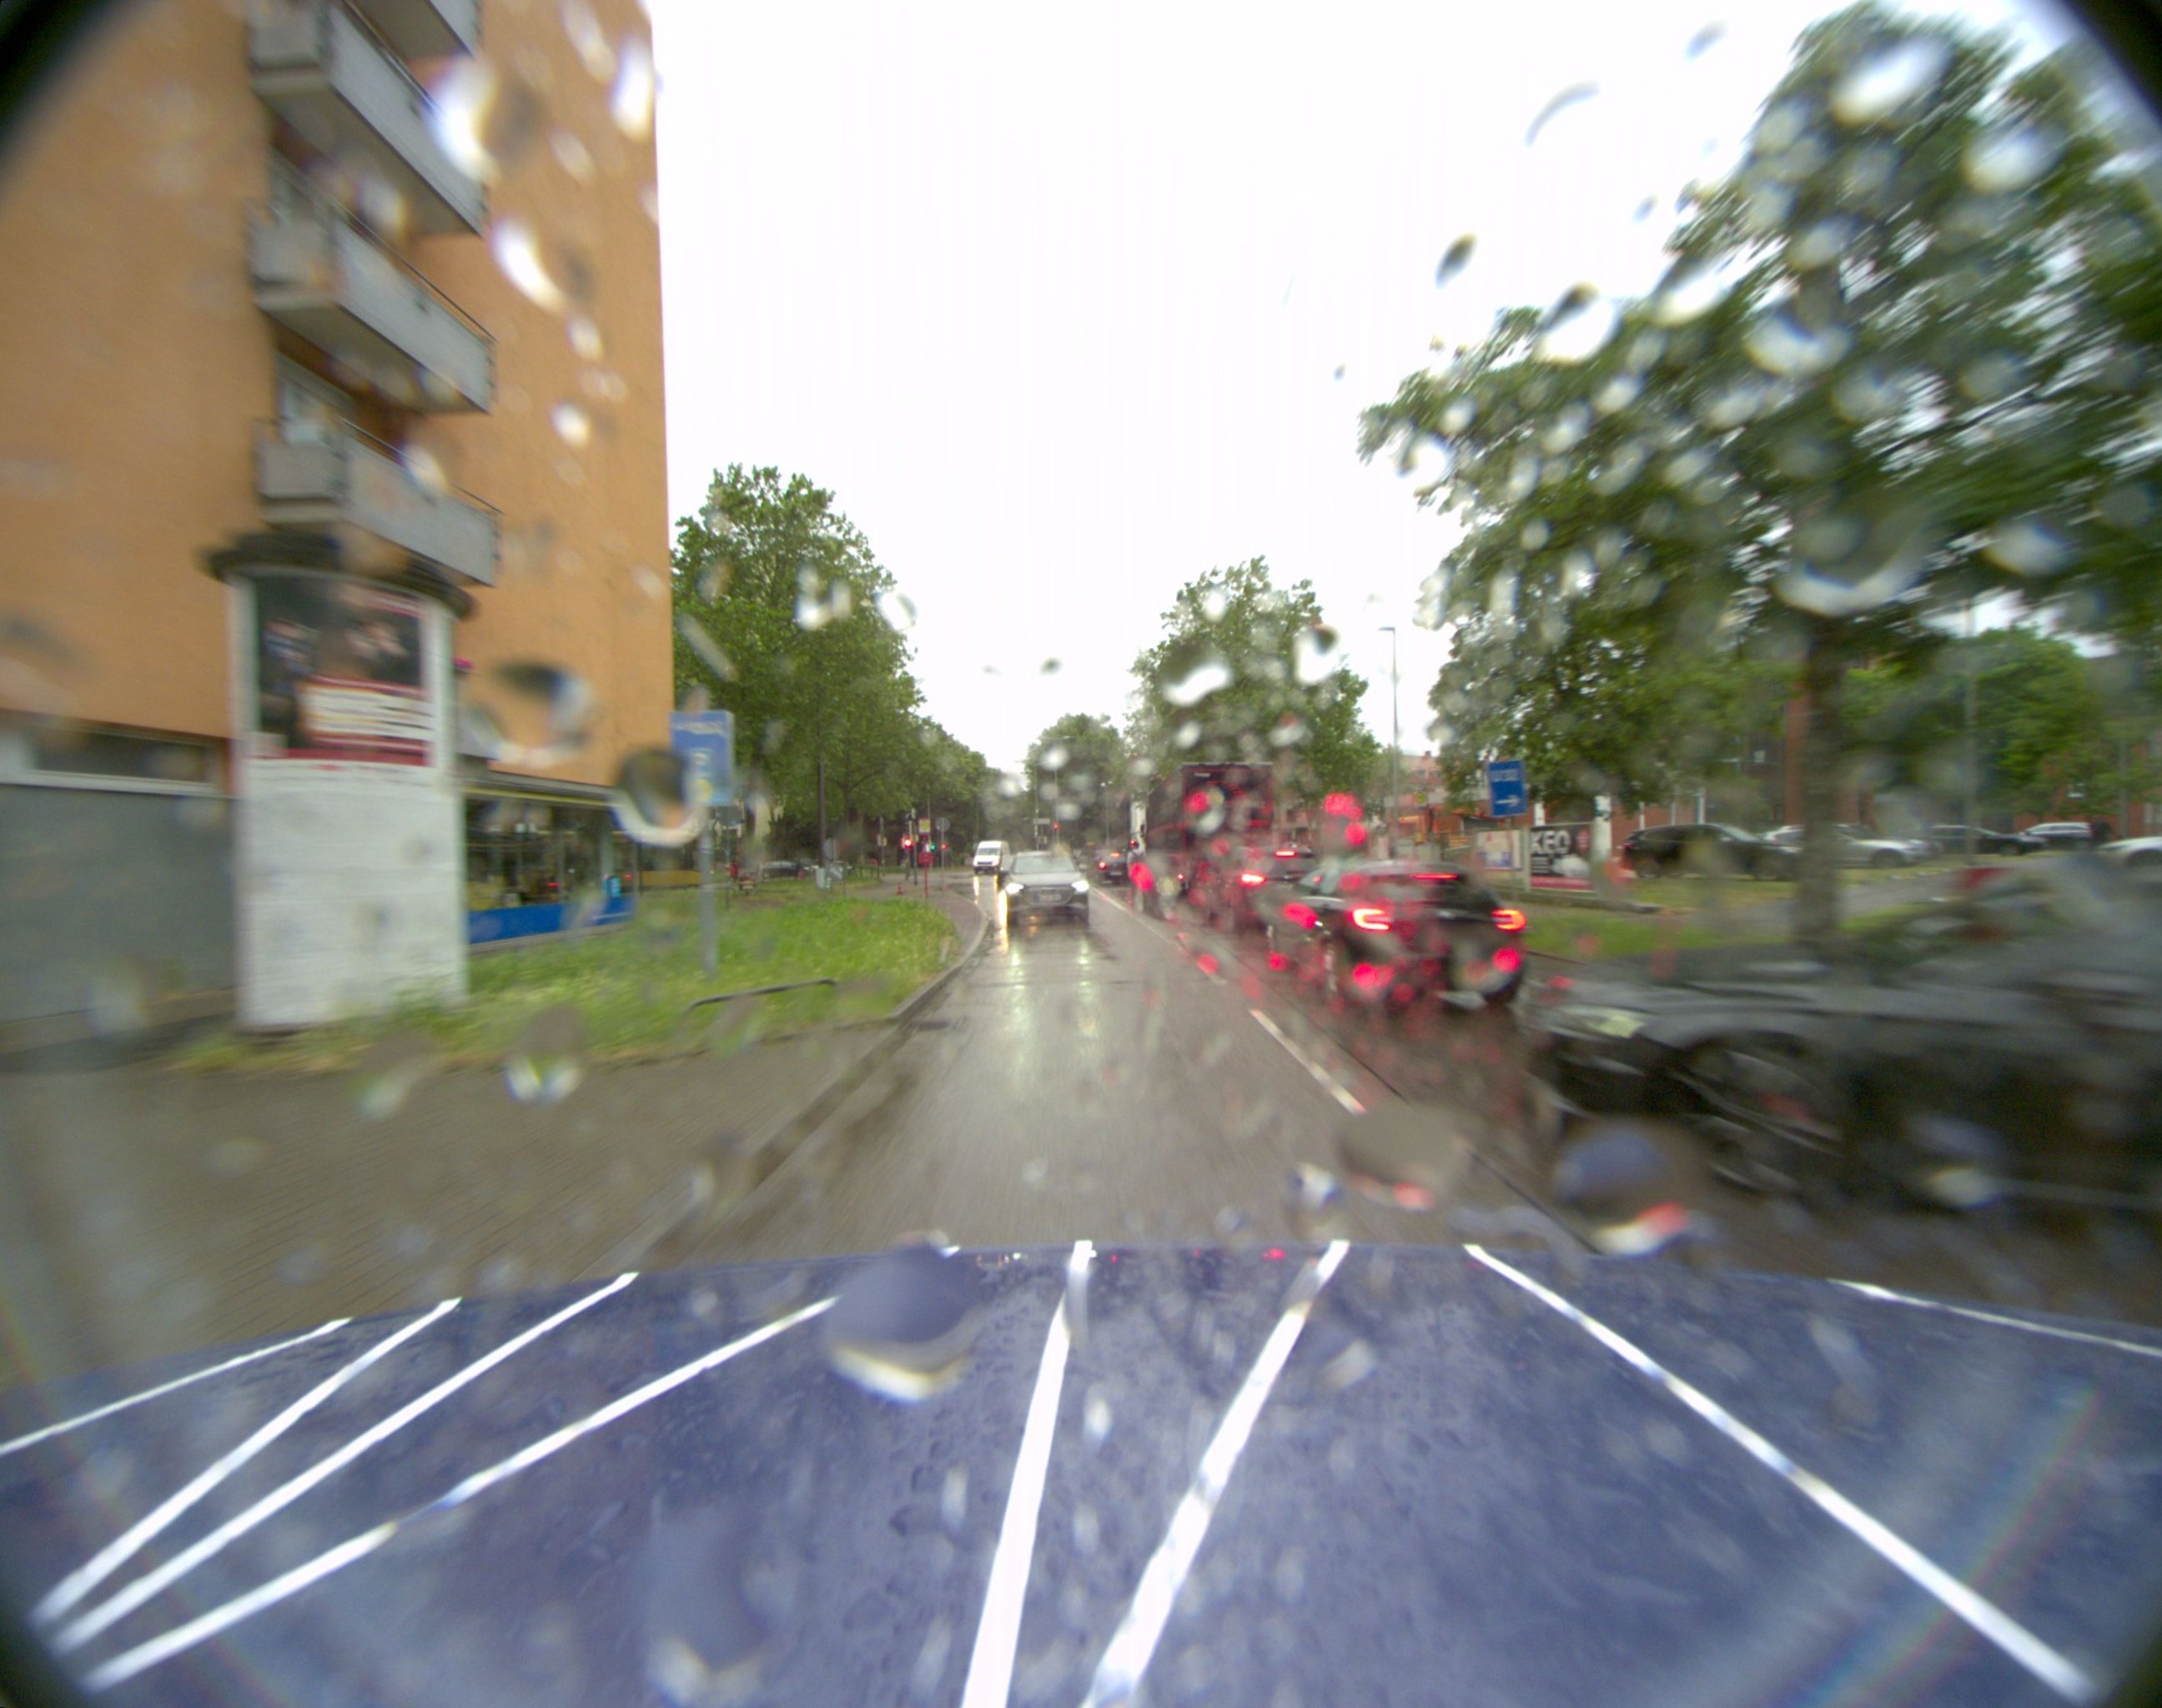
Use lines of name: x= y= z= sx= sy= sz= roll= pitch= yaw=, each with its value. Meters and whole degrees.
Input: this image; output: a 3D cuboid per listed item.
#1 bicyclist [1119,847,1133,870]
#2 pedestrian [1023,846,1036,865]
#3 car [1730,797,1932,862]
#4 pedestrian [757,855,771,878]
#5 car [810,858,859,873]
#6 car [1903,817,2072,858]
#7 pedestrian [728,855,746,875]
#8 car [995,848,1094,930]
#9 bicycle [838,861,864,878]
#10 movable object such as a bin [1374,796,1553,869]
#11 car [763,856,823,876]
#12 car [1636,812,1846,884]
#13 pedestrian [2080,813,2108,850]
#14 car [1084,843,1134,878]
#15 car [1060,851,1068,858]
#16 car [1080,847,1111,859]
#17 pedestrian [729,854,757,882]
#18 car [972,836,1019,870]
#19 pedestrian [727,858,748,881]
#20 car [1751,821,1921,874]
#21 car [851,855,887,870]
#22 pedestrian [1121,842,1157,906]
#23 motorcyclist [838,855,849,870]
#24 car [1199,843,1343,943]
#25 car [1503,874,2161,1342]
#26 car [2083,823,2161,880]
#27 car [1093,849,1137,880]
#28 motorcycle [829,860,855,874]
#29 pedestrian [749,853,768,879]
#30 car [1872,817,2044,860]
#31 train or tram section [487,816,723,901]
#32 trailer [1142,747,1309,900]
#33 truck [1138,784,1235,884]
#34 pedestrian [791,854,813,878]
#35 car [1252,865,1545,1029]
bicyclist: x=2.816 y=0.267 z=47.790 sx=0.581 sy=1.452 sz=1.010 roll=-1 pitch=1 yaw=-12
pedestrian: x=-4.190 y=0.132 z=61.860 sx=0.864 sy=1.572 sz=0.642 roll=-1 pitch=1 yaw=-16
car: x=25.837 y=-0.783 z=26.350 sx=2.003 sy=2.002 sz=4.665 roll=-2 pitch=0 yaw=-34
pedestrian: x=-21.827 y=0.837 z=52.279 sx=0.763 sy=1.539 sz=0.691 roll=-1 pitch=1 yaw=-33
car: x=-23.201 y=1.088 z=71.680 sx=4.172 sy=1.268 sz=1.901 roll=-2 pitch=0 yaw=-10
car: x=42.702 y=-0.752 z=35.945 sx=2.173 sy=1.731 sz=4.795 roll=-2 pitch=0 yaw=-29
pedestrian: x=-23.544 y=0.736 z=51.983 sx=1.012 sy=1.373 sz=0.672 roll=-1 pitch=1 yaw=-33
car: x=-0.986 y=0.743 z=18.115 sx=1.810 sy=1.611 sz=4.134 roll=-4 pitch=1 yaw=-9
bicycle: x=-15.319 y=1.055 z=50.655 sx=1.621 sy=1.070 sz=0.445 roll=-2 pitch=1 yaw=-24
movable object such as a bin: x=17.182 y=-0.914 z=34.598 sx=6.767 sy=2.913 sz=2.777 roll=-2 pitch=0 yaw=11
car: x=-23.303 y=0.974 z=61.544 sx=4.177 sy=1.452 sz=1.993 roll=-2 pitch=0 yaw=-8
car: x=18.227 y=-0.147 z=21.185 sx=2.003 sy=1.780 sz=3.990 roll=-1 pitch=0 yaw=-31
pedestrian: x=47.082 y=-1.055 z=35.325 sx=0.781 sy=1.674 sz=0.676 roll=-2 pitch=1 yaw=-30
car: x=1.472 y=0.388 z=42.441 sx=2.080 sy=1.672 sz=4.928 roll=-4 pitch=-1 yaw=-5
car: x=-4.378 y=0.112 z=194.223 sx=1.999 sy=1.795 sz=4.349 roll=-2 pitch=0 yaw=-2
car: x=2.244 y=-0.145 z=115.171 sx=4.668 sy=1.863 sz=2.034 roll=-1 pitch=0 yaw=2
pedestrian: x=-21.822 y=0.898 z=49.109 sx=1.234 sy=1.778 sz=1.039 roll=-1 pitch=1 yaw=18
car: x=-6.840 y=-0.086 z=61.595 sx=2.281 sy=2.547 sz=6.514 roll=-2 pitch=0 yaw=7
pedestrian: x=-23.280 y=1.068 z=51.464 sx=1.067 sy=1.517 sz=0.876 roll=-2 pitch=1 yaw=-37
car: x=27.794 y=-0.202 z=28.113 sx=2.003 sy=1.781 sz=3.992 roll=-1 pitch=-1 yaw=-28
car: x=-23.508 y=0.966 z=84.290 sx=3.459 sy=1.516 sz=1.841 roll=-2 pitch=0 yaw=-3
pedestrian: x=1.707 y=0.565 z=22.344 sx=0.870 sy=1.833 sz=0.993 roll=-1 pitch=1 yaw=14
motorcyclist: x=-21.652 y=0.791 z=69.246 sx=0.754 sy=1.343 sz=0.757 roll=-2 pitch=1 yaw=-6
car: x=3.670 y=0.642 z=15.566 sx=1.872 sy=1.610 sz=4.801 roll=-1 pitch=2 yaw=2
car: x=4.567 y=0.839 z=3.012 sx=4.915 sy=1.445 sz=2.090 roll=-1 pitch=0 yaw=33
car: x=26.881 y=-0.082 z=17.594 sx=1.626 sy=1.371 sz=4.299 roll=-1 pitch=0 yaw=-30
car: x=1.534 y=0.474 z=35.757 sx=1.703 sy=1.365 sz=4.098 roll=-2 pitch=0 yaw=-3
motorcycle: x=-21.726 y=1.154 z=69.224 sx=2.074 sy=1.208 sz=0.881 roll=-2 pitch=1 yaw=-6
pedestrian: x=-22.472 y=0.814 z=52.912 sx=0.996 sy=1.771 sz=0.810 roll=-1 pitch=1 yaw=-37
car: x=39.814 y=-0.667 z=34.647 sx=2.173 sy=1.731 sz=4.795 roll=-2 pitch=0 yaw=-29
train or tram section: x=-20.802 y=0.089 z=33.730 sx=8.392 sy=3.350 sz=2.639 roll=-2 pitch=1 yaw=-44
trailer: x=4.483 y=-0.828 z=27.931 sx=3.451 sy=4.025 sz=15.050 roll=-1 pitch=0 yaw=1
truck: x=4.614 y=-0.833 z=34.930 sx=3.459 sy=4.055 sz=6.974 roll=-2 pitch=0 yaw=1
pedestrian: x=-19.577 y=0.820 z=53.336 sx=1.054 sy=1.676 sz=0.997 roll=-1 pitch=0 yaw=13
car: x=3.252 y=0.844 z=8.786 sx=1.730 sy=1.353 sz=4.338 roll=-1 pitch=0 yaw=2
